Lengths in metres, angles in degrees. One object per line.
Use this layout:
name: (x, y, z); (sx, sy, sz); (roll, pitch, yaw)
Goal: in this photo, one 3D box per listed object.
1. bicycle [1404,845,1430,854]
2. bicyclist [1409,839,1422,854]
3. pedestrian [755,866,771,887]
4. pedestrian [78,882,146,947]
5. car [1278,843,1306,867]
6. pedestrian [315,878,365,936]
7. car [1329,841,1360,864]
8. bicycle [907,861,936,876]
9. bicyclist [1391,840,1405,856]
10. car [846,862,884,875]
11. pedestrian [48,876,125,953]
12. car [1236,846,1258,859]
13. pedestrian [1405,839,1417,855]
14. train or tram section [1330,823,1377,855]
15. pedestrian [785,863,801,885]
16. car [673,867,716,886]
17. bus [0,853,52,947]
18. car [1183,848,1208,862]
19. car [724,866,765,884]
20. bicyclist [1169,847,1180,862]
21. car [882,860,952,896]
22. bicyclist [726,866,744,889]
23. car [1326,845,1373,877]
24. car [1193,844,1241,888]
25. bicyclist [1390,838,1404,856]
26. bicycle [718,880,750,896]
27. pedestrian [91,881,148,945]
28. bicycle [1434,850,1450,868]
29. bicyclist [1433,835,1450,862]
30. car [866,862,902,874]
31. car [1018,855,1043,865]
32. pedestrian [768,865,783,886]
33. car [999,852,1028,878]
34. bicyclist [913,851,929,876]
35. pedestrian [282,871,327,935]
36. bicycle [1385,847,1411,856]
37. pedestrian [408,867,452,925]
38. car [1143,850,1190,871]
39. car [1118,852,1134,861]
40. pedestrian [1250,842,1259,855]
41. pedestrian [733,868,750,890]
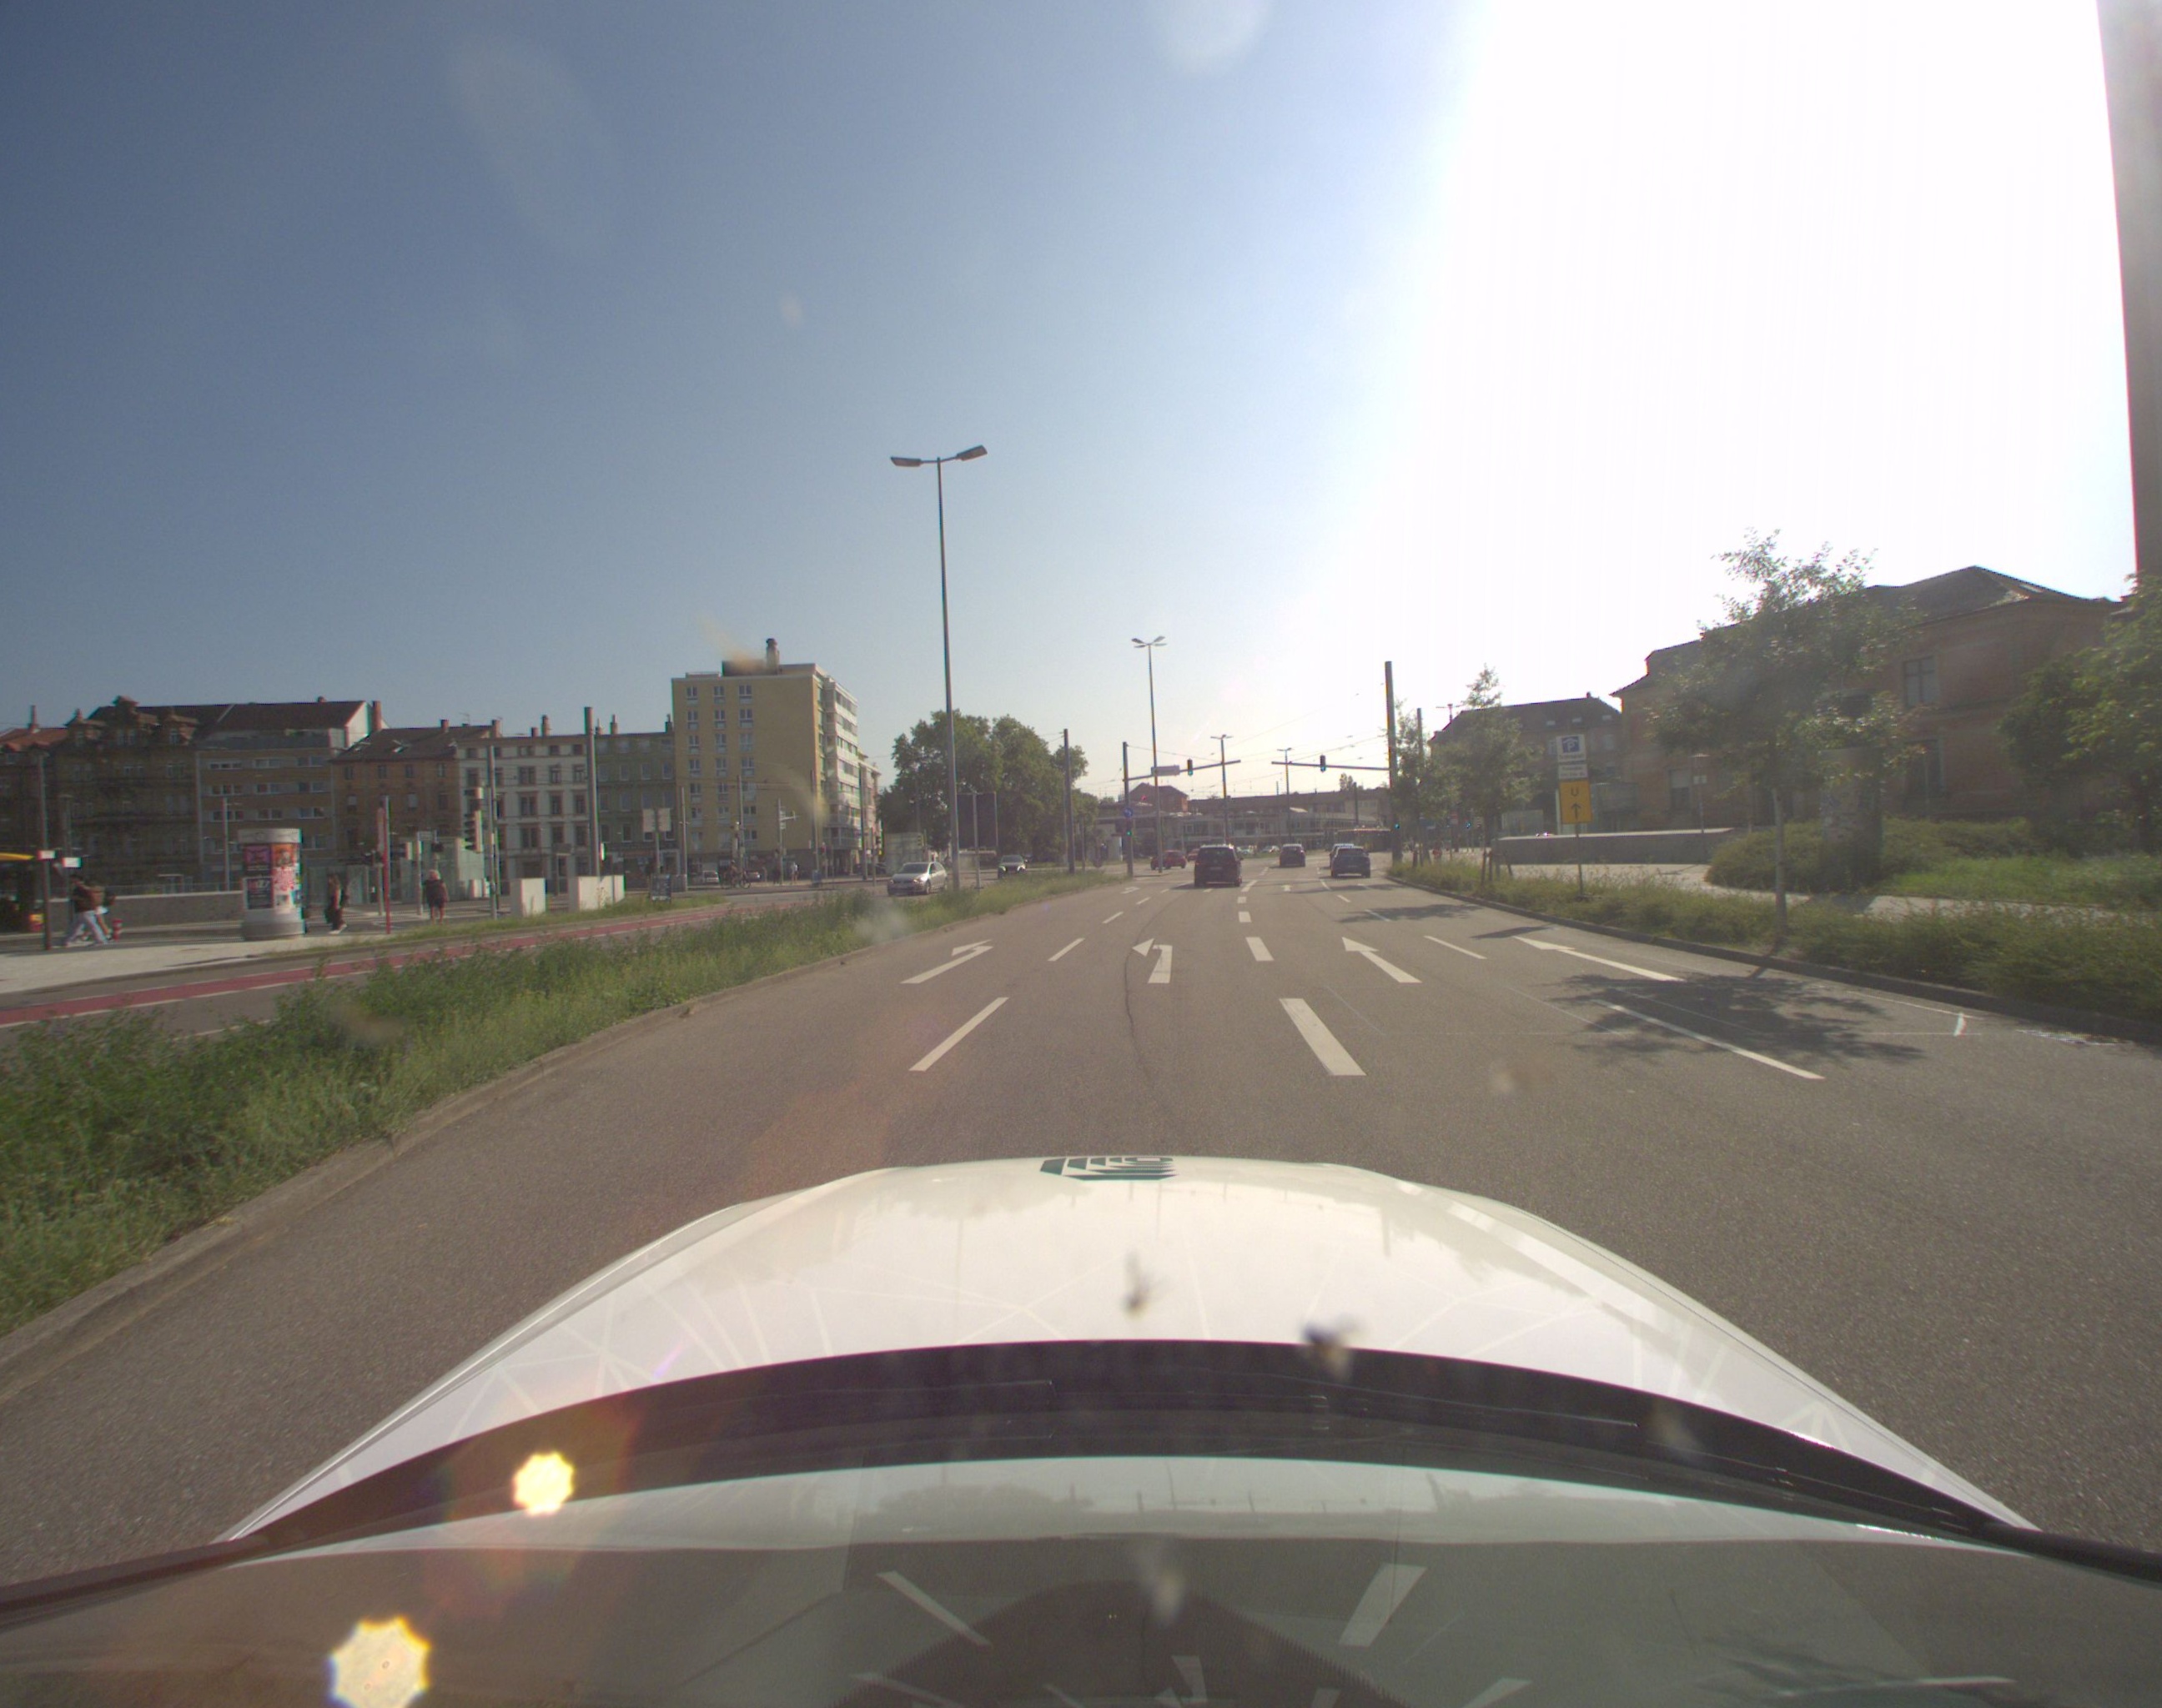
bicycle: (39.502, -0.561, 95.789); (2.619, 0.964, 1.089); (-2, 0, -11)
bicyclist: (39.297, -0.920, 95.745); (0.934, 1.680, 1.089); (-2, 0, -11)
pedestrian: (-26.052, 1.845, 66.751); (0.920, 1.690, 0.921); (-2, 0, -4)
pedestrian: (-24.931, 1.549, 20.956); (0.977, 1.563, 0.871); (-3, 0, 26)
car: (15.051, 0.054, 58.284); (1.812, 1.535, 4.429); (-3, 0, 14)
pedestrian: (-21.284, 1.498, 23.399); (0.995, 1.559, 0.855); (-2, 0, -43)
car: (17.792, -0.108, 55.184); (1.811, 1.428, 4.432); (-3, 0, 17)
bicycle: (-11.007, 1.024, 56.117); (1.806, 0.932, 0.726); (-2, 0, 1)
bicyclist: (36.876, -0.723, 94.761); (0.934, 1.800, 1.089); (-2, 0, -11)
car: (-25.367, 1.653, 95.761); (4.151, 1.354, 1.478); (-2, 0, -6)
pedestrian: (-23.940, 1.443, 19.610); (0.978, 1.770, 0.870); (-3, 0, 22)
car: (21.155, -0.186, 103.806); (1.599, 1.475, 4.025); (-5, -1, 28)
pedestrian: (37.892, -0.800, 93.456); (0.930, 1.797, 0.852); (-2, 0, -28)
train or tram section: (33.775, -1.881, 100.674); (2.629, 3.699, 10.658); (-3, 0, 33)
pedestrian: (-23.482, 1.610, 66.385); (0.920, 1.690, 0.921); (-2, 0, -4)
car: (-38.792, 2.270, 81.652); (4.491, 1.678, 2.013); (-2, 0, 38)
bus: (-40.218, 1.732, 23.892); (2.681, 3.108, 12.292); (-3, 0, 41)
car: (13.611, 0.144, 96.741); (1.599, 1.475, 4.025); (-5, -1, 28)
car: (-33.767, 2.092, 81.726); (4.492, 1.678, 2.012); (-2, 0, 42)
bicyclist: (11.147, 0.053, 97.149); (0.948, 1.748, 1.173); (-2, 0, 29)
car: (-7.307, 1.025, 36.715); (1.804, 1.433, 4.233); (-3, 0, 7)
bicyclist: (-23.134, 1.573, 54.437); (0.791, 1.527, 0.726); (-2, 0, 2)
car: (13.546, 0.326, 41.288); (1.813, 1.428, 4.428); (-3, 0, 13)
car: (5.805, 0.448, 34.344); (1.813, 1.714, 4.426); (-1, 0, 11)
bicyclist: (35.940, -0.808, 92.616); (0.938, 2.024, 1.084); (-2, 0, -24)
bicycle: (-23.188, 2.288, 54.435); (1.806, 0.932, 0.726); (-2, 0, 1)
pedestrian: (-28.019, 1.705, 23.741); (0.774, 1.800, 0.702); (-3, 0, 5)
bicycle: (20.384, 0.255, 45.985); (0.713, 0.959, 1.932); (-3, 0, 21)
bicyclist: (20.378, -0.301, 46.050); (0.713, 1.513, 1.009); (-3, 0, 20)
car: (-24.641, 1.758, 102.011); (4.151, 1.354, 1.575); (-2, 0, -6)
car: (-8.889, 1.066, 143.539); (1.684, 1.522, 4.542); (-2, 0, 44)
pedestrian: (-24.969, 1.730, 66.546); (0.920, 1.690, 0.921); (-2, 0, -4)
car: (-4.643, 0.754, 56.603); (1.689, 1.617, 4.458); (-3, 0, -2)
bicyclist: (-11.046, 0.636, 56.121); (0.878, 1.652, 0.726); (-2, 0, 2)
pedestrian: (-22.667, 1.429, 23.774); (0.789, 1.800, 0.785); (-3, 0, 35)
bicycle: (36.908, -0.302, 94.766); (2.619, 0.964, 1.089); (-2, 0, -11)
pedestrian: (-20.838, 1.342, 26.068); (0.774, 1.800, 0.702); (-3, 0, 5)
car: (6.814, 0.535, 65.142); (1.833, 1.535, 4.379); (-3, 0, -22)
car: (7.614, 0.404, 138.176); (1.686, 1.522, 4.118); (-2, 0, 17)
pedestrian: (19.955, -0.649, 93.520); (0.770, 1.503, 0.714); (-3, 0, 28)
pedestrian: (-27.387, 2.039, 65.740); (0.920, 1.690, 0.921); (-2, 0, -4)
